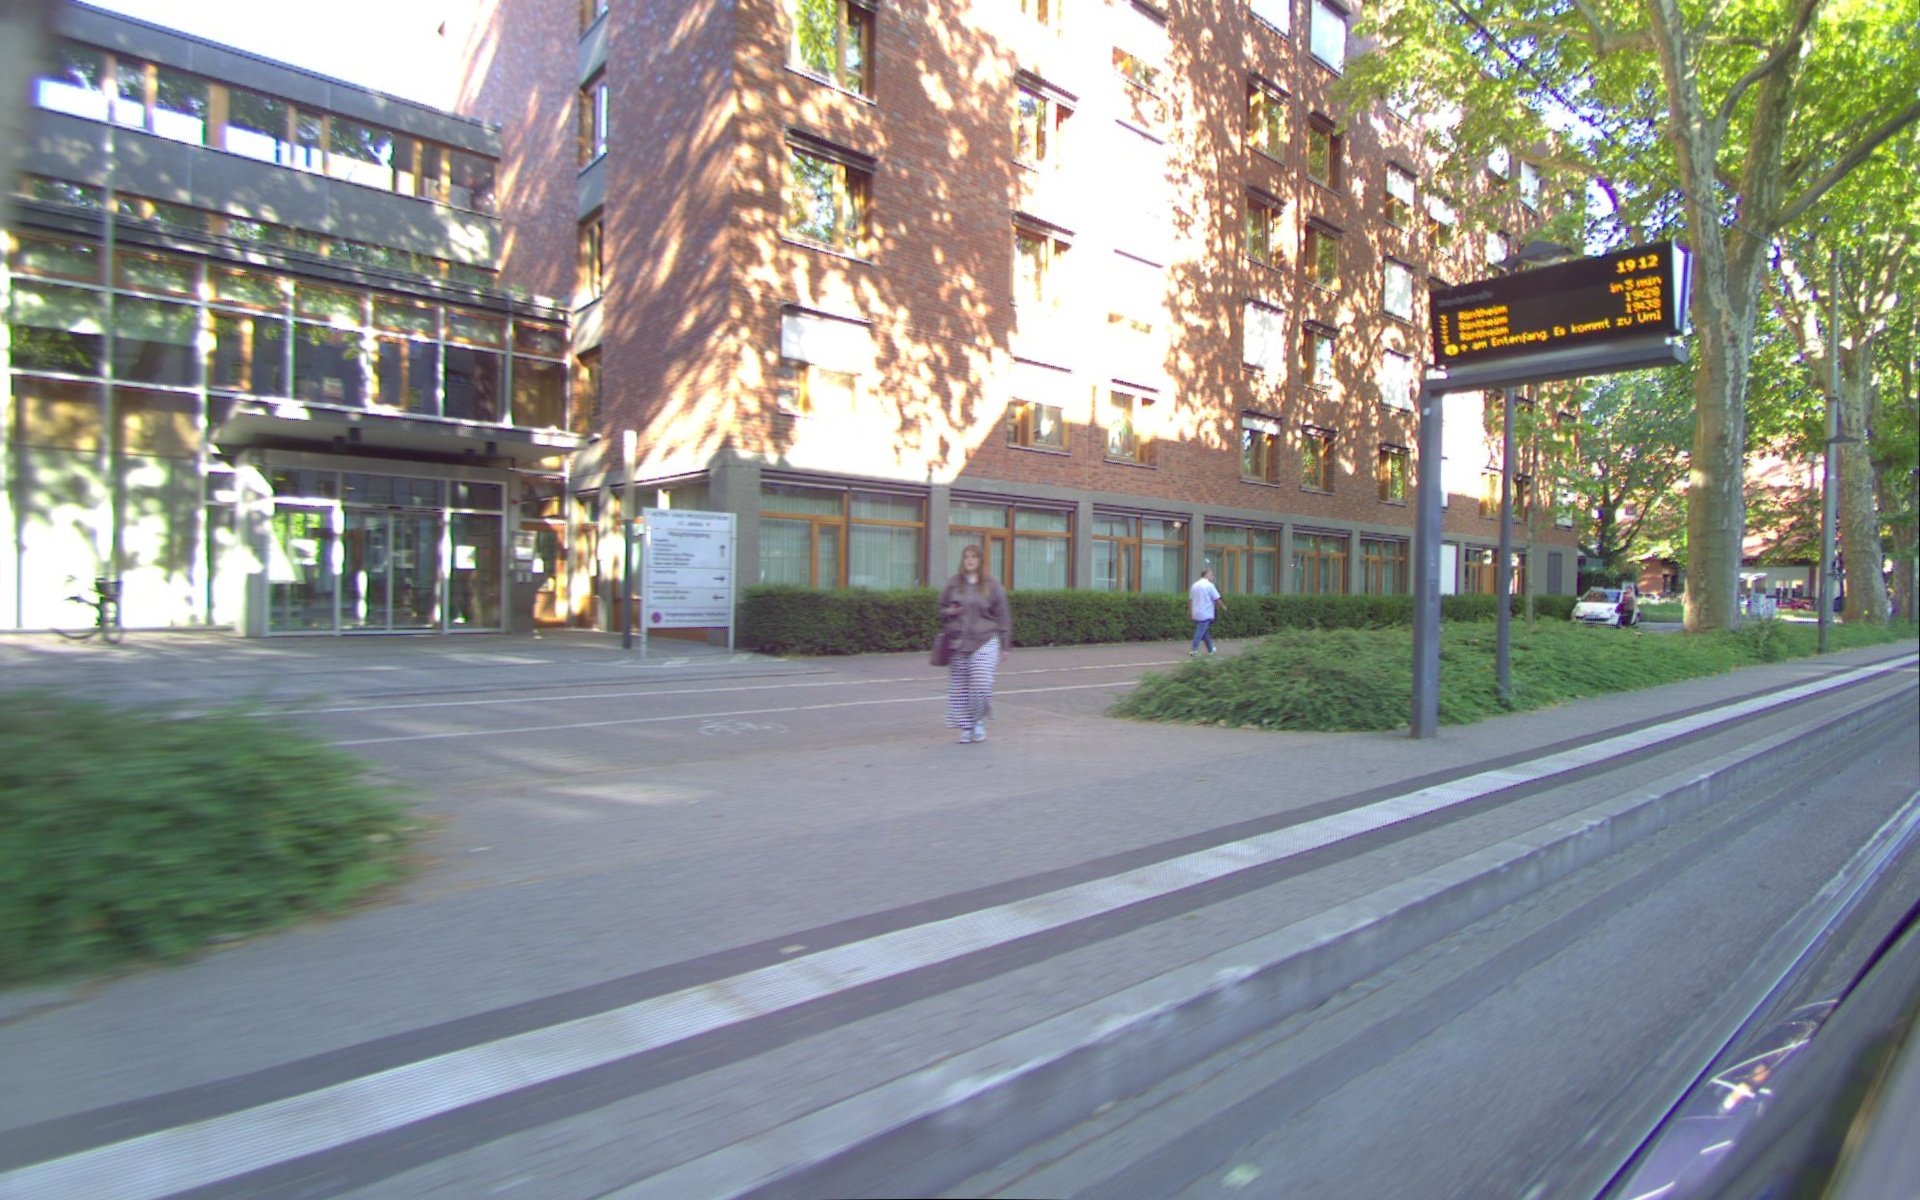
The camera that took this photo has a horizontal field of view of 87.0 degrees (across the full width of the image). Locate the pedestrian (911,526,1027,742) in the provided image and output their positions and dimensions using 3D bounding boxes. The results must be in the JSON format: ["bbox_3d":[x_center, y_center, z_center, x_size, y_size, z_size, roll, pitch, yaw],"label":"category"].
[{"bbox_3d":[0.094,0.253,8.441,0.757,1.680,0.913,1,1,14],"label":"pedestrian"}]

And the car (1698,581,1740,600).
[{"bbox_3d":[64.578,-0.813,86.132,3.610,1.549,1.999,0,1,-38],"label":"car"}]

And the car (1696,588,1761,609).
[{"bbox_3d":[60.062,-0.158,79.099,1.964,1.549,3.674,0,2,-39],"label":"car"}]

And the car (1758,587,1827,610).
[{"bbox_3d":[62.544,-0.135,76.085,1.964,1.549,3.674,0,2,-39],"label":"car"}]

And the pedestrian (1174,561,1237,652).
[{"bbox_3d":[4.688,0.113,19.359,0.901,1.680,0.768,0,1,-41],"label":"pedestrian"}]

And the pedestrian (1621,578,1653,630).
[{"bbox_3d":[22.899,0.120,34.249,0.736,1.712,0.710,0,1,-42],"label":"pedestrian"}]

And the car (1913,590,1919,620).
[{"bbox_3d":[51.854,0.331,52.065,1.964,1.549,3.872,0,2,-39],"label":"car"}]

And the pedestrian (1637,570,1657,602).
[{"bbox_3d":[38.227,-0.790,56.286,0.689,1.735,0.691,0,1,-33],"label":"pedestrian"}]

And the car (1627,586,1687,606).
[{"bbox_3d":[56.977,-0.337,82.785,1.964,1.549,3.674,0,2,-39],"label":"car"}]

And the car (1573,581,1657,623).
[{"bbox_3d":[25.103,0.058,38.740,3.892,1.527,1.657,0,2,-41],"label":"car"}]

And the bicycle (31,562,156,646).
[{"bbox_3d":[-13.416,0.037,15.659,1.930,1.171,0.727,3,2,24],"label":"bicycle"}]
